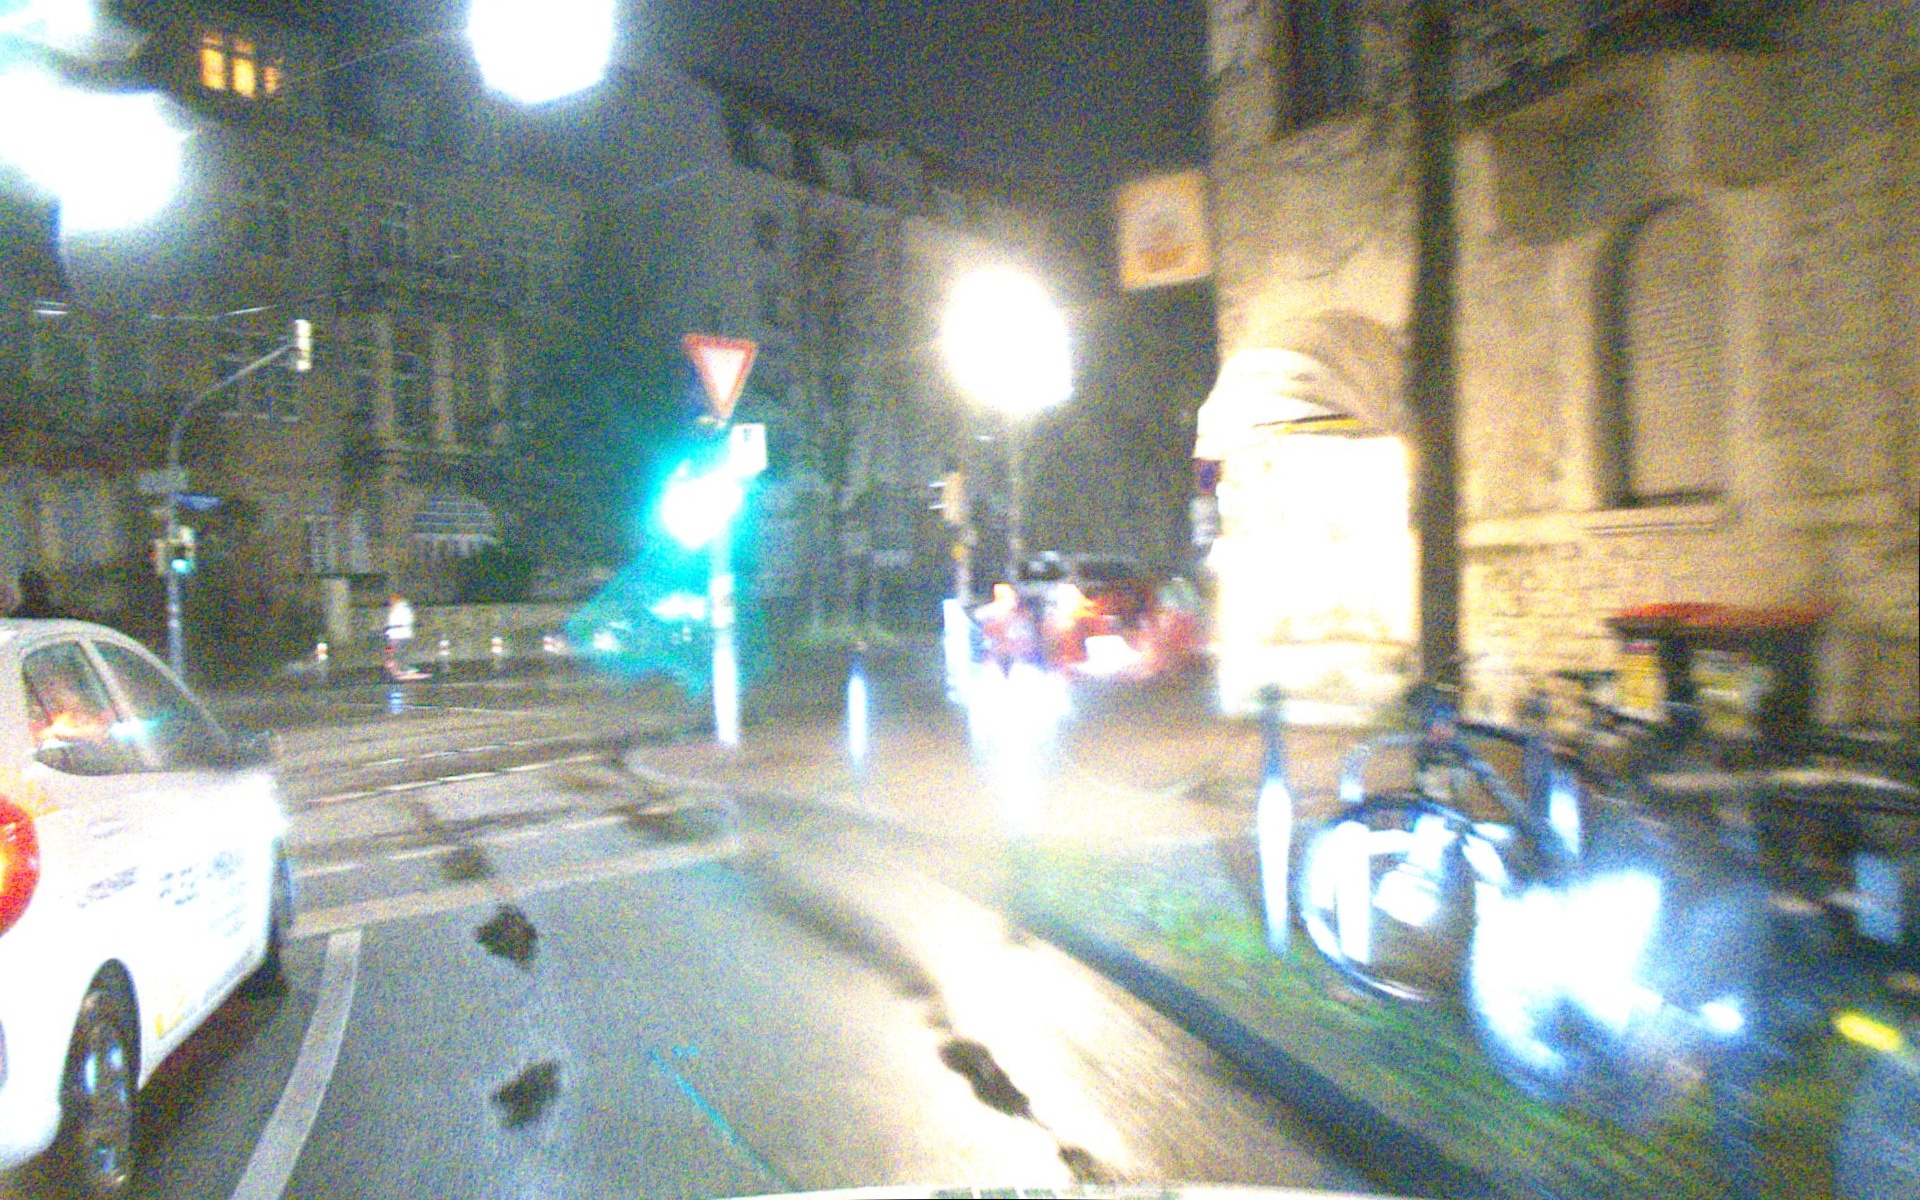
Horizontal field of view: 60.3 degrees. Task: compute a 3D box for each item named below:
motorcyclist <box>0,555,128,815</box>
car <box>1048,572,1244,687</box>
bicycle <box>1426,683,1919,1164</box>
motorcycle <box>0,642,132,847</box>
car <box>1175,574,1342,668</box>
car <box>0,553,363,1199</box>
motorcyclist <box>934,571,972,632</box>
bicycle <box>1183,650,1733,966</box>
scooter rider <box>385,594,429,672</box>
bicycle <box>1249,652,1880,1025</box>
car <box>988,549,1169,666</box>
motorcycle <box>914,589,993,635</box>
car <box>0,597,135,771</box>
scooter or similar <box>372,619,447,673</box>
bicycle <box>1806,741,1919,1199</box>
[{"bbox_3d":[-6.256,0.564,11.516,0.781,1.724,0.812,0,0,-30],"label":"motorcyclist"},{"bbox_3d":[3.008,0.426,26.178,1.617,1.551,3.573,-6,-2,31],"label":"car"},{"bbox_3d":[2.289,0.773,4.370,1.933,1.024,0.640,-2,0,-11],"label":"bicycle"},{"bbox_3d":[-6.274,0.935,11.526,0.781,1.234,2.227,0,0,-30],"label":"motorcycle"},{"bbox_3d":[5.604,0.344,30.673,1.615,1.466,4.047,-6,-2,31],"label":"car"},{"bbox_3d":[-3.082,0.711,4.966,1.885,1.542,3.587,-2,0,-12],"label":"car"},{"bbox_3d":[-0.220,0.050,49.762,1.005,1.761,0.709,-3,-1,-4],"label":"motorcyclist"},{"bbox_3d":[1.897,0.754,6.375,1.933,1.024,0.640,-2,0,-11],"label":"bicycle"},{"bbox_3d":[-11.541,0.682,34.494,0.631,1.600,0.648,1,1,43],"label":"scooter rider"},{"bbox_3d":[2.027,0.752,5.616,1.933,1.053,0.640,-2,0,-11],"label":"bicycle"},{"bbox_3d":[2.836,0.108,38.013,2.174,2.484,5.378,0,1,28],"label":"car"},{"bbox_3d":[-0.204,0.374,49.749,2.273,1.252,0.709,-3,-1,-5],"label":"motorcycle"},{"bbox_3d":[-10.342,0.857,18.590,1.730,1.770,3.761,0,0,-30],"label":"car"},{"bbox_3d":[-11.495,0.944,34.552,0.631,1.070,1.360,1,1,43],"label":"scooter or similar"},{"bbox_3d":[2.595,0.750,2.945,1.933,1.024,0.640,-2,0,-11],"label":"bicycle"}]
